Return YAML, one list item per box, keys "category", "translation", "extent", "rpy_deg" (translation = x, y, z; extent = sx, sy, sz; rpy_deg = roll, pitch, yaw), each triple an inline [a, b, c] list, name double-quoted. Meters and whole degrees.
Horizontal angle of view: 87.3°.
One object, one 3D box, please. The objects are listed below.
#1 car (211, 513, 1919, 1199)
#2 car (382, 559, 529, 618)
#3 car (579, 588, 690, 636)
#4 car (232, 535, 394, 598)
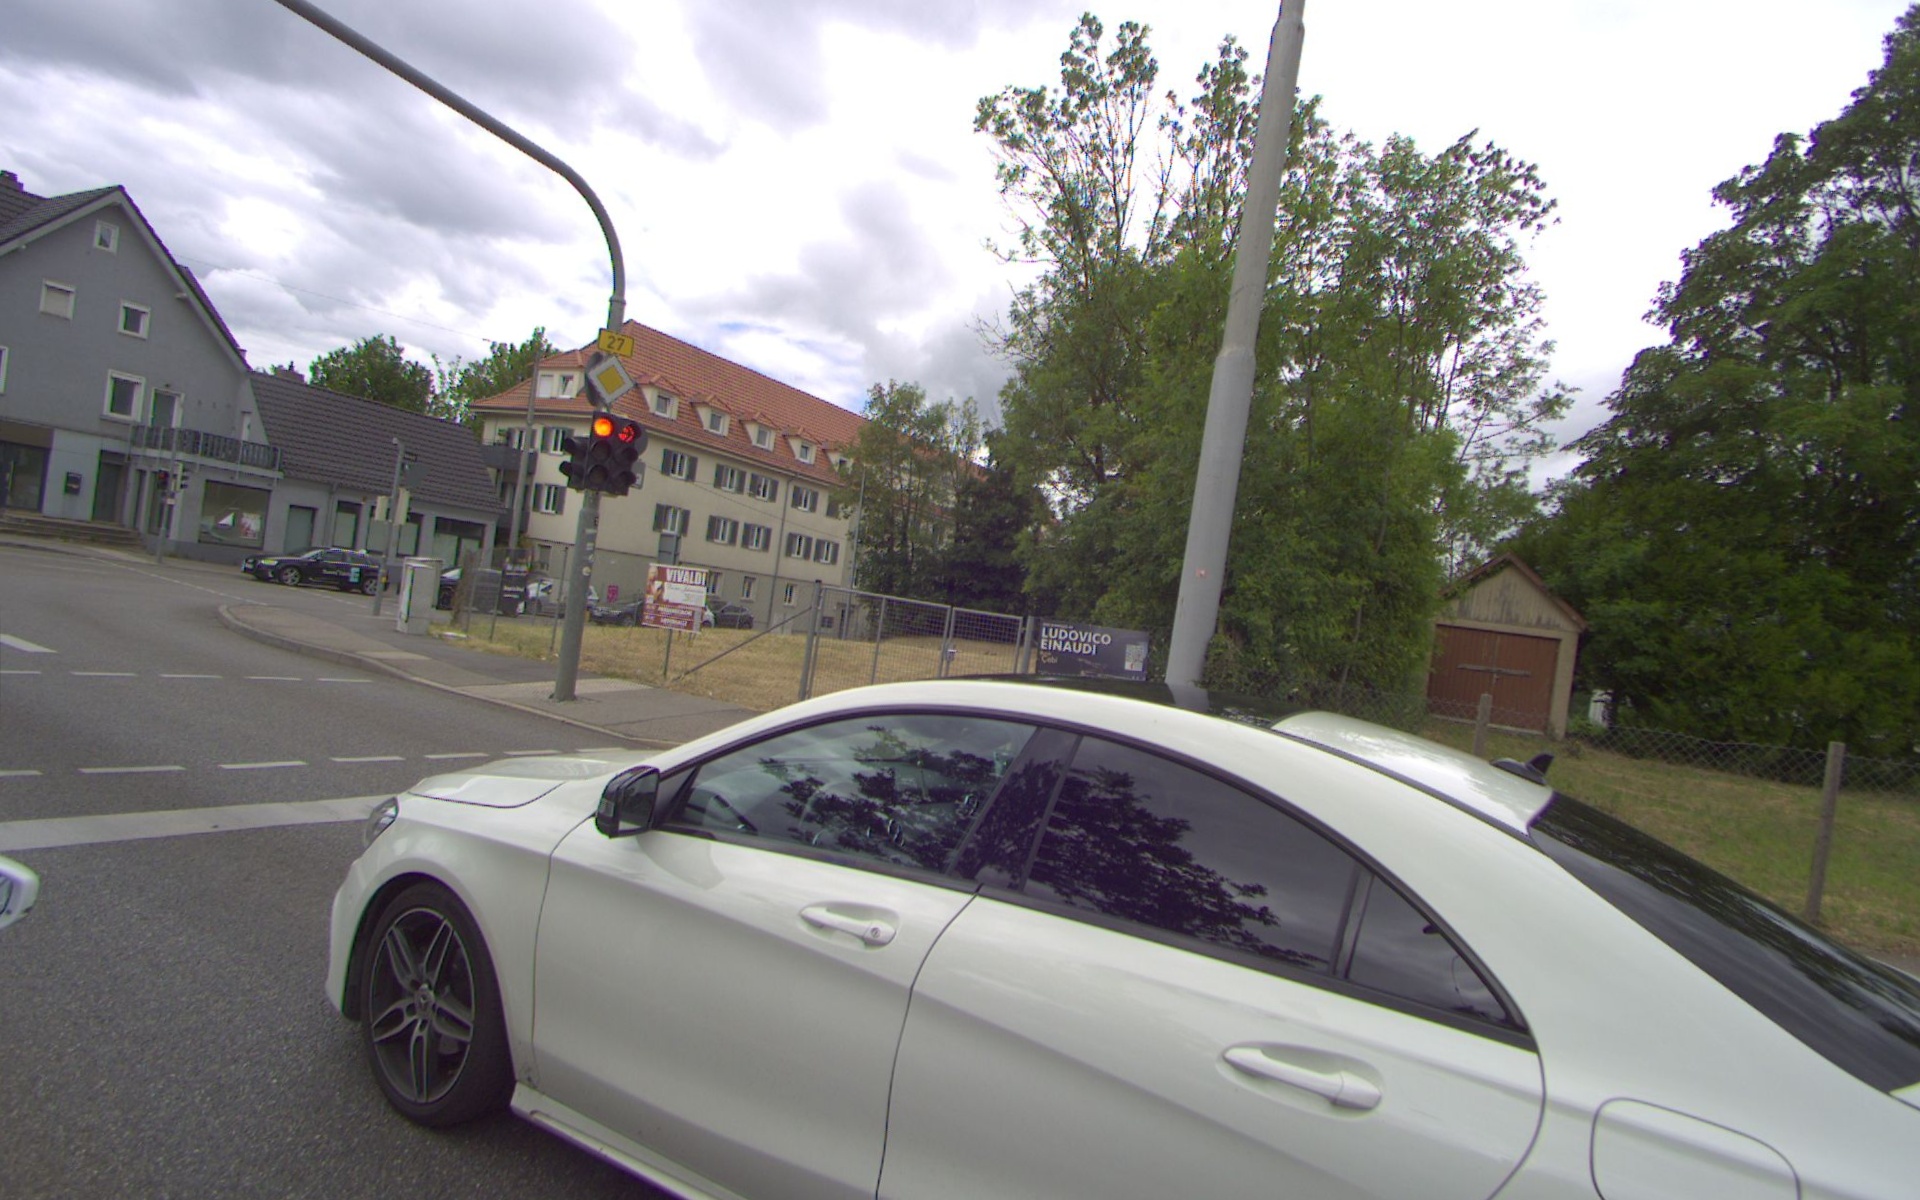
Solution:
- category: "car"
  translation: [0.109, 0.817, 2.817]
  extent: [4.695, 1.522, 1.872]
  rpy_deg: [7, -2, 33]
- category: "car"
  translation: [-17.156, -0.355, 34.401]
  extent: [1.769, 1.386, 4.099]
  rpy_deg: [7, -3, 30]
- category: "car"
  translation: [-13.352, 0.534, 41.474]
  extent: [1.769, 1.386, 4.099]
  rpy_deg: [7, -3, 30]
- category: "car"
  translation: [-21.415, -1.061, 33.465]
  extent: [1.769, 1.386, 4.099]
  rpy_deg: [7, -3, 30]
